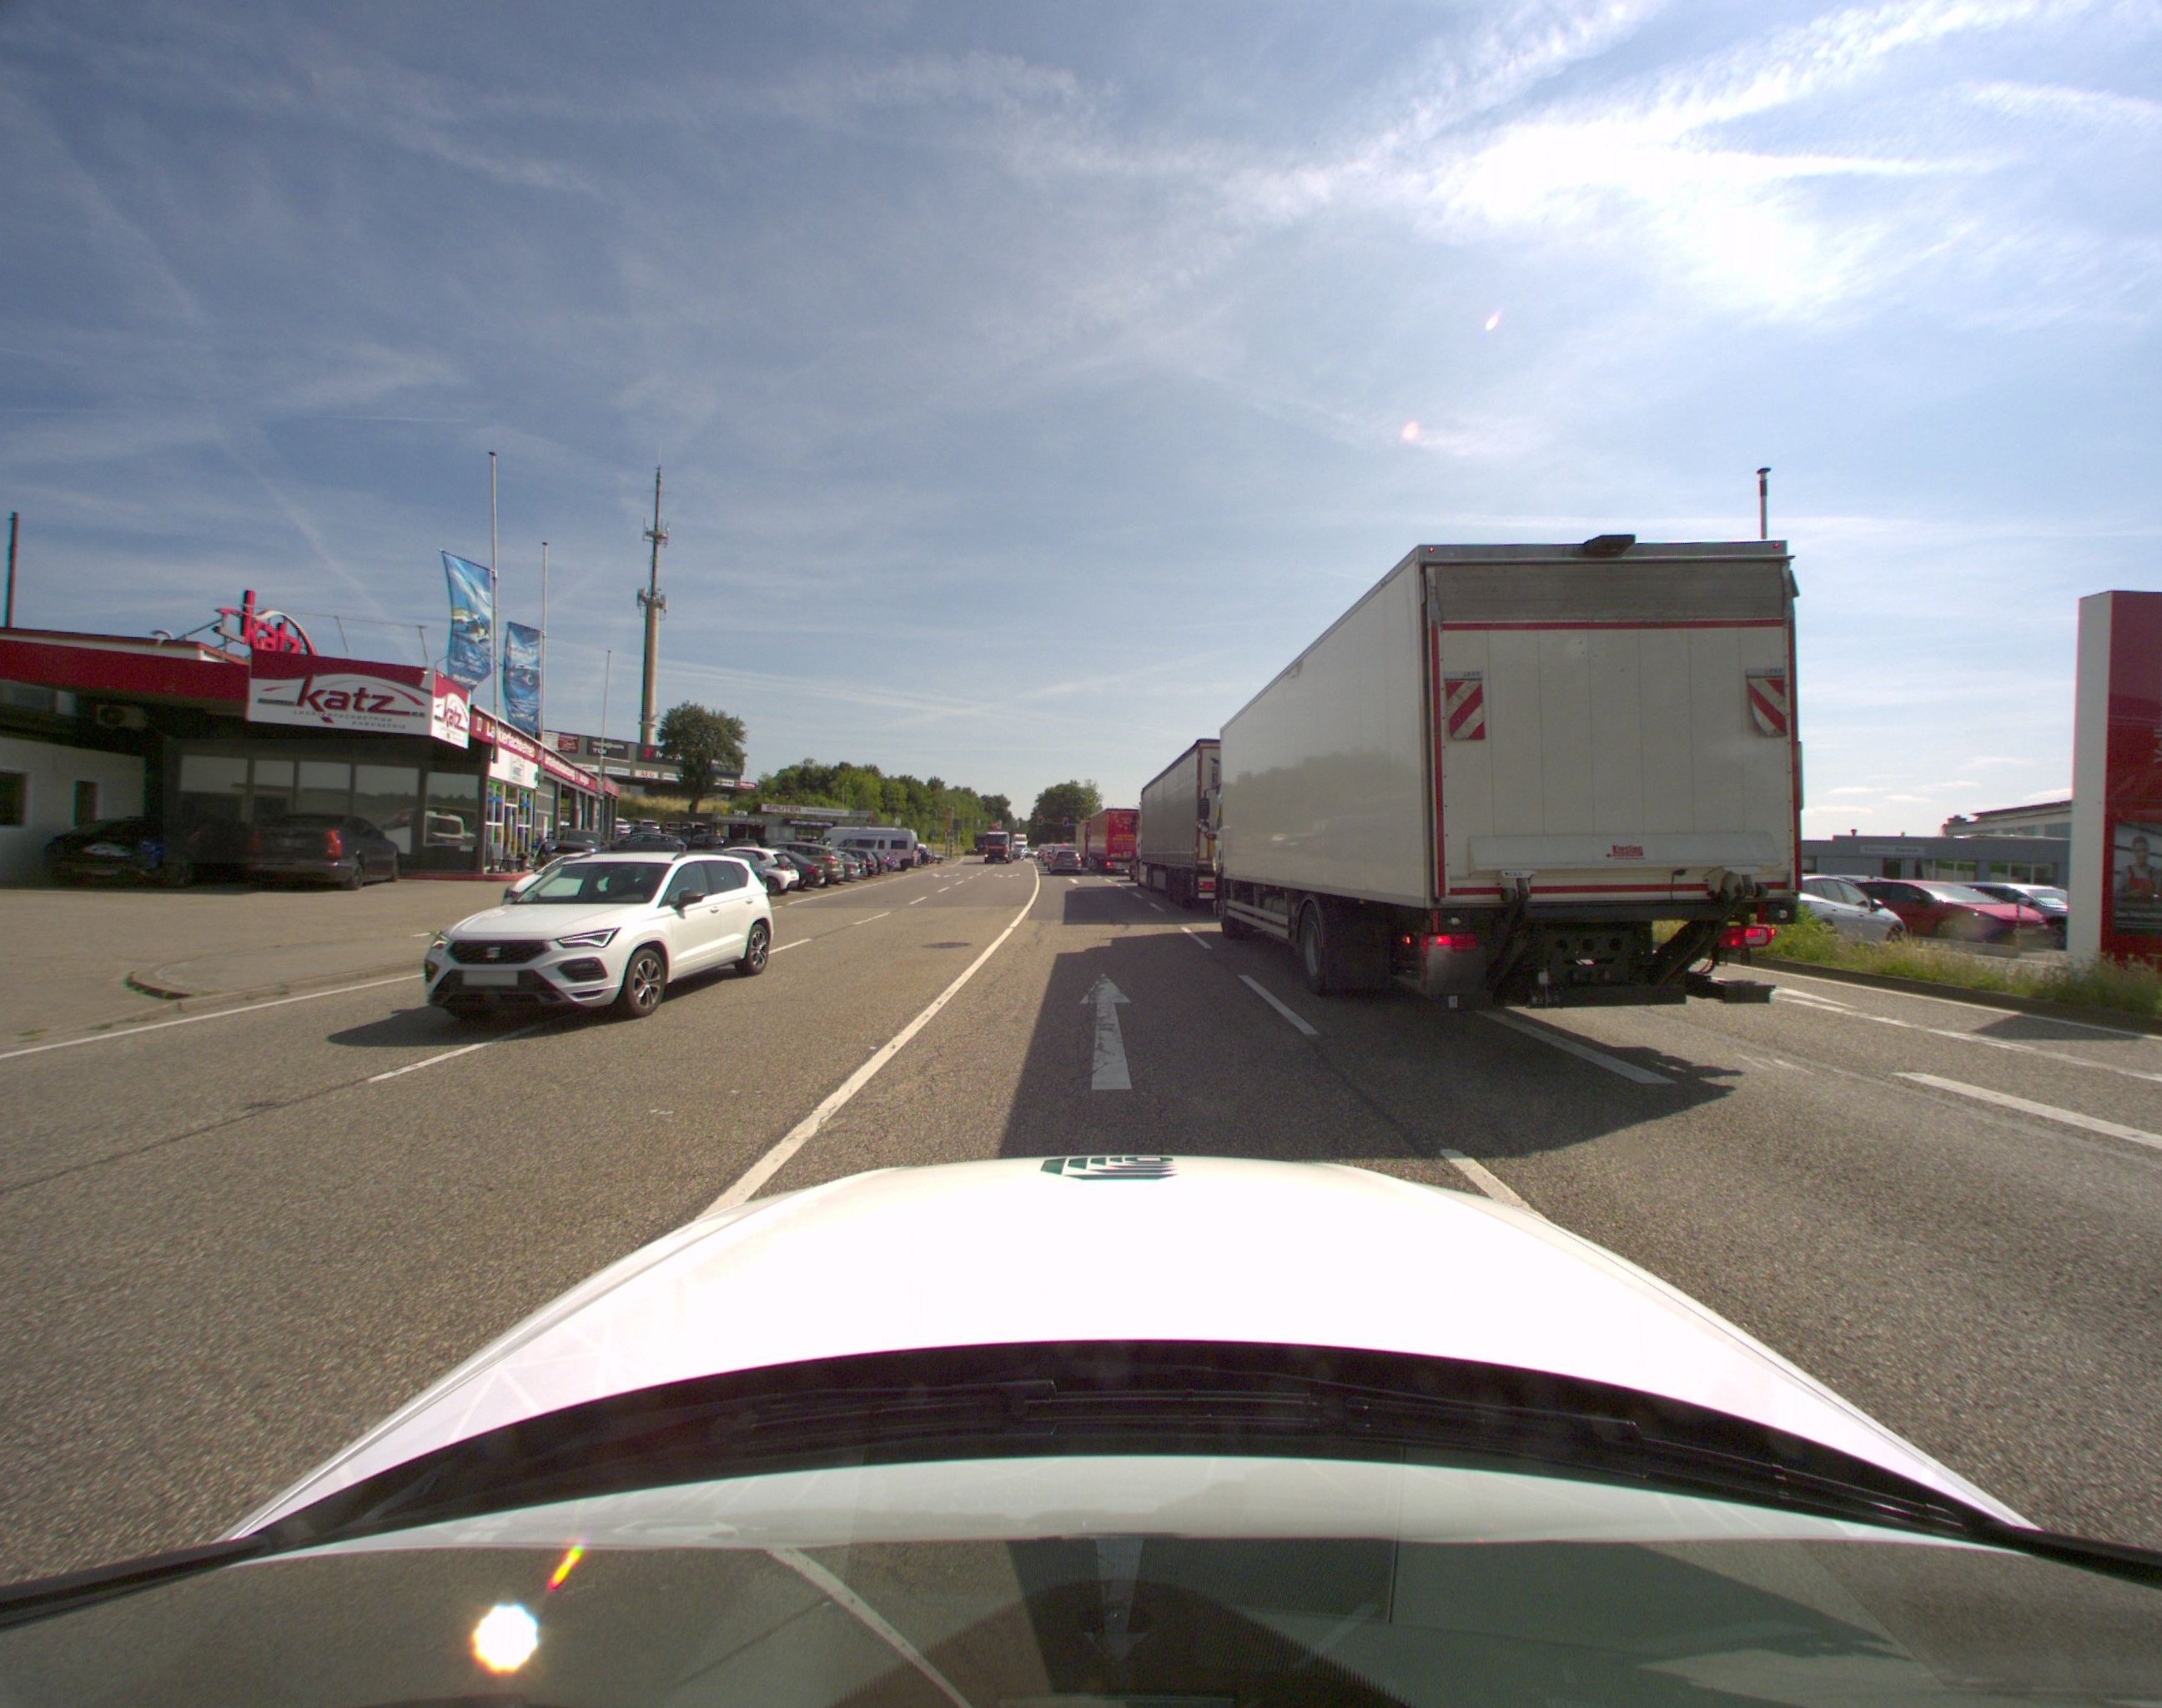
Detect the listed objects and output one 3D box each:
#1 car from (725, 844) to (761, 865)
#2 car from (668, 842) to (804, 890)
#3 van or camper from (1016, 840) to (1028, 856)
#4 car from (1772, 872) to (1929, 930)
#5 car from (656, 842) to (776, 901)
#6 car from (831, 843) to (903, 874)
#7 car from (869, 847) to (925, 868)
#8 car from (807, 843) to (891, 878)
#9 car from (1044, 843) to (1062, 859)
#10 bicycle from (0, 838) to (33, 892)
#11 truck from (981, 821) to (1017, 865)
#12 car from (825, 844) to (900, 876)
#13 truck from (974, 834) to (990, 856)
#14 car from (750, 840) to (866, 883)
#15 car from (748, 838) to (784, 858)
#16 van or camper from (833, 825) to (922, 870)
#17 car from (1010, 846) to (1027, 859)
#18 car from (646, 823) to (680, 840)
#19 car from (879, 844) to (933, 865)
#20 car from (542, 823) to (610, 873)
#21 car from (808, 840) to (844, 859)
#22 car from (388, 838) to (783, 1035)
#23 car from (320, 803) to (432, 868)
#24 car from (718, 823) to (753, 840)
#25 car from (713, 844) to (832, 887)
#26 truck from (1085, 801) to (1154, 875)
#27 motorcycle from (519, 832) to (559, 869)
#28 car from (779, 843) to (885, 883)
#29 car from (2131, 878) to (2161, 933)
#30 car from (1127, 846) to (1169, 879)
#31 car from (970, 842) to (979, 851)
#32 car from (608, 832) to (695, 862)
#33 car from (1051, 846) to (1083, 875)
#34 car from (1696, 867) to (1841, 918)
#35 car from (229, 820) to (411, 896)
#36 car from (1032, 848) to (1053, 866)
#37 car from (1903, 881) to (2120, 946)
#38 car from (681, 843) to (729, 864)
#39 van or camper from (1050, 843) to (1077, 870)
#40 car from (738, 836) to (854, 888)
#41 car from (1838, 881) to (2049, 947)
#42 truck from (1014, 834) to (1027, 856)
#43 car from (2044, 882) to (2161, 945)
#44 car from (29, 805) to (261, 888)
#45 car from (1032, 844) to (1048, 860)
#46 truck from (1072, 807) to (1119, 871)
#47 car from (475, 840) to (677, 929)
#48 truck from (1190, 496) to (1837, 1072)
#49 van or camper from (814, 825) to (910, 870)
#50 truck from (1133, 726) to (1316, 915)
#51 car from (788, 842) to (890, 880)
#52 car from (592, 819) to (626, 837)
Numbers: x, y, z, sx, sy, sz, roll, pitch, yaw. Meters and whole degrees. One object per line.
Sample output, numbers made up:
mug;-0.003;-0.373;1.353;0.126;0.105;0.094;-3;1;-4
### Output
car;-26.857;0.018;64.732;1.777;1.588;3.787;0;0;-36
car;-11.530;0.392;27.451;3.790;1.525;1.843;1;0;-5
van or camper;-11.248;-1.158;155.031;2.219;2.840;5.703;1;-1;-3
car;24.152;1.427;25.731;1.553;1.607;3.595;-1;0;0
car;-10.736;0.480;24.269;1.774;1.494;3.780;5;0;-1
car;-12.473;0.247;47.595;3.702;1.484;1.705;5;0;-5
car;-13.651;0.253;60.466;3.810;1.448;1.840;1;0;-5
car;-12.056;0.310;42.567;3.838;1.484;1.799;5;0;-5
car;-2.763;-0.290;80.403;1.722;1.519;3.309;1;0;-2
bicycle;-20.833;0.125;14.895;2.001;0.971;0.412;6;-3;-24
truck;-8.366;-1.077;84.383;2.948;4.209;10.638;-1;0;-2
car;-12.093;0.327;45.194;3.701;1.555;1.705;3;1;-5
truck;-17.531;-1.545;144.276;2.810;3.786;6.972;-1;1;-7
car;-11.626;0.316;34.943;4.270;1.484;1.833;5;0;-5
car;-25.804;-0.491;66.616;1.777;1.588;3.787;0;0;-36
van or camper;-13.182;-0.421;53.033;5.232;2.731;2.208;1;0;-3
car;-7.652;-0.157;100.336;1.800;1.560;4.386;0;0;0
car;-38.223;-2.000;74.421;1.746;1.450;3.703;2;-1;-44
car;-13.545;0.047;63.234;3.810;1.539;1.840;1;0;-5
car;-20.083;-0.209;32.542;1.831;1.675;4.090;7;-4;-28
car;-21.797;-0.366;69.439;1.777;1.588;3.787;0;0;-36
car;-5.018;0.710;9.056;1.929;1.674;3.999;-1;0;0
car;-21.711;-0.549;25.245;1.708;1.759;3.728;5;-1;-28
car;-32.572;-2.097;76.687;1.746;1.450;3.703;2;-1;-44
car;-11.293;0.400;30.010;3.702;1.525;1.789;0;0;-5
truck;2.301;-1.021;56.090;2.951;4.269;16.564;1;0;-3
motorcycle;-18.885;-0.122;28.412;0.773;1.261;2.039;0;0;-23
car;-11.468;0.392;37.731;4.291;1.484;1.795;5;0;-5
car;29.069;1.367;20.231;1.549;1.409;3.698;-1;0;9
car;3.485;0.409;43.171;1.814;1.685;3.998;0;0;-1
car;-22.735;-1.590;173.829;1.992;2.014;3.989;2;-1;-8
car;-22.604;-0.365;43.027;3.958;1.532;1.754;0;0;-27
car;-0.793;0.382;47.817;1.784;1.638;3.503;0;0;0
car;21.570;1.160;25.736;1.553;1.409;3.595;-1;0;0
car;-18.091;0.033;19.647;1.862;1.504;4.361;4;1;-25
car;-3.354;0.288;71.654;1.722;1.519;3.310;1;0;-1
car;24.000;1.482;21.219;1.553;1.409;3.595;-1;0;0
car;-29.223;-0.046;63.271;3.780;1.588;1.780;1;0;36
van or camper;-1.362;0.172;62.235;1.849;1.905;3.779;1;0;-4
car;-11.276;0.296;32.432;3.880;1.716;1.803;5;0;-5
car;21.597;1.448;20.613;1.553;1.409;3.595;-1;0;0
truck;-12.502;-1.843;168.489;2.547;4.307;7.586;0;0;-3
car;26.624;1.473;20.113;1.552;1.409;3.599;-1;0;3
car;-20.339;-0.222;17.974;1.863;1.504;3.967;5;1;-26
car;-5.144;-0.205;102.769;1.721;1.909;3.311;1;-1;0
truck;1.115;-1.315;76.743;3.056;5.220;16.986;1;0;-3
car;-10.413;0.564;17.204;1.774;1.618;3.998;1;0;-1
truck;3.644;-0.483;11.015;2.870;3.811;11.141;1;0;0
van or camper;-14.856;-0.418;55.416;5.879;2.873;2.287;1;1;-4
truck;3.825;-0.789;26.979;2.881;4.266;16.703;1;0;-1
car;-11.939;0.353;40.390;4.452;1.484;1.769;5;0;-5
car;-41.553;-2.260;71.666;1.746;1.537;3.703;2;-1;-44
